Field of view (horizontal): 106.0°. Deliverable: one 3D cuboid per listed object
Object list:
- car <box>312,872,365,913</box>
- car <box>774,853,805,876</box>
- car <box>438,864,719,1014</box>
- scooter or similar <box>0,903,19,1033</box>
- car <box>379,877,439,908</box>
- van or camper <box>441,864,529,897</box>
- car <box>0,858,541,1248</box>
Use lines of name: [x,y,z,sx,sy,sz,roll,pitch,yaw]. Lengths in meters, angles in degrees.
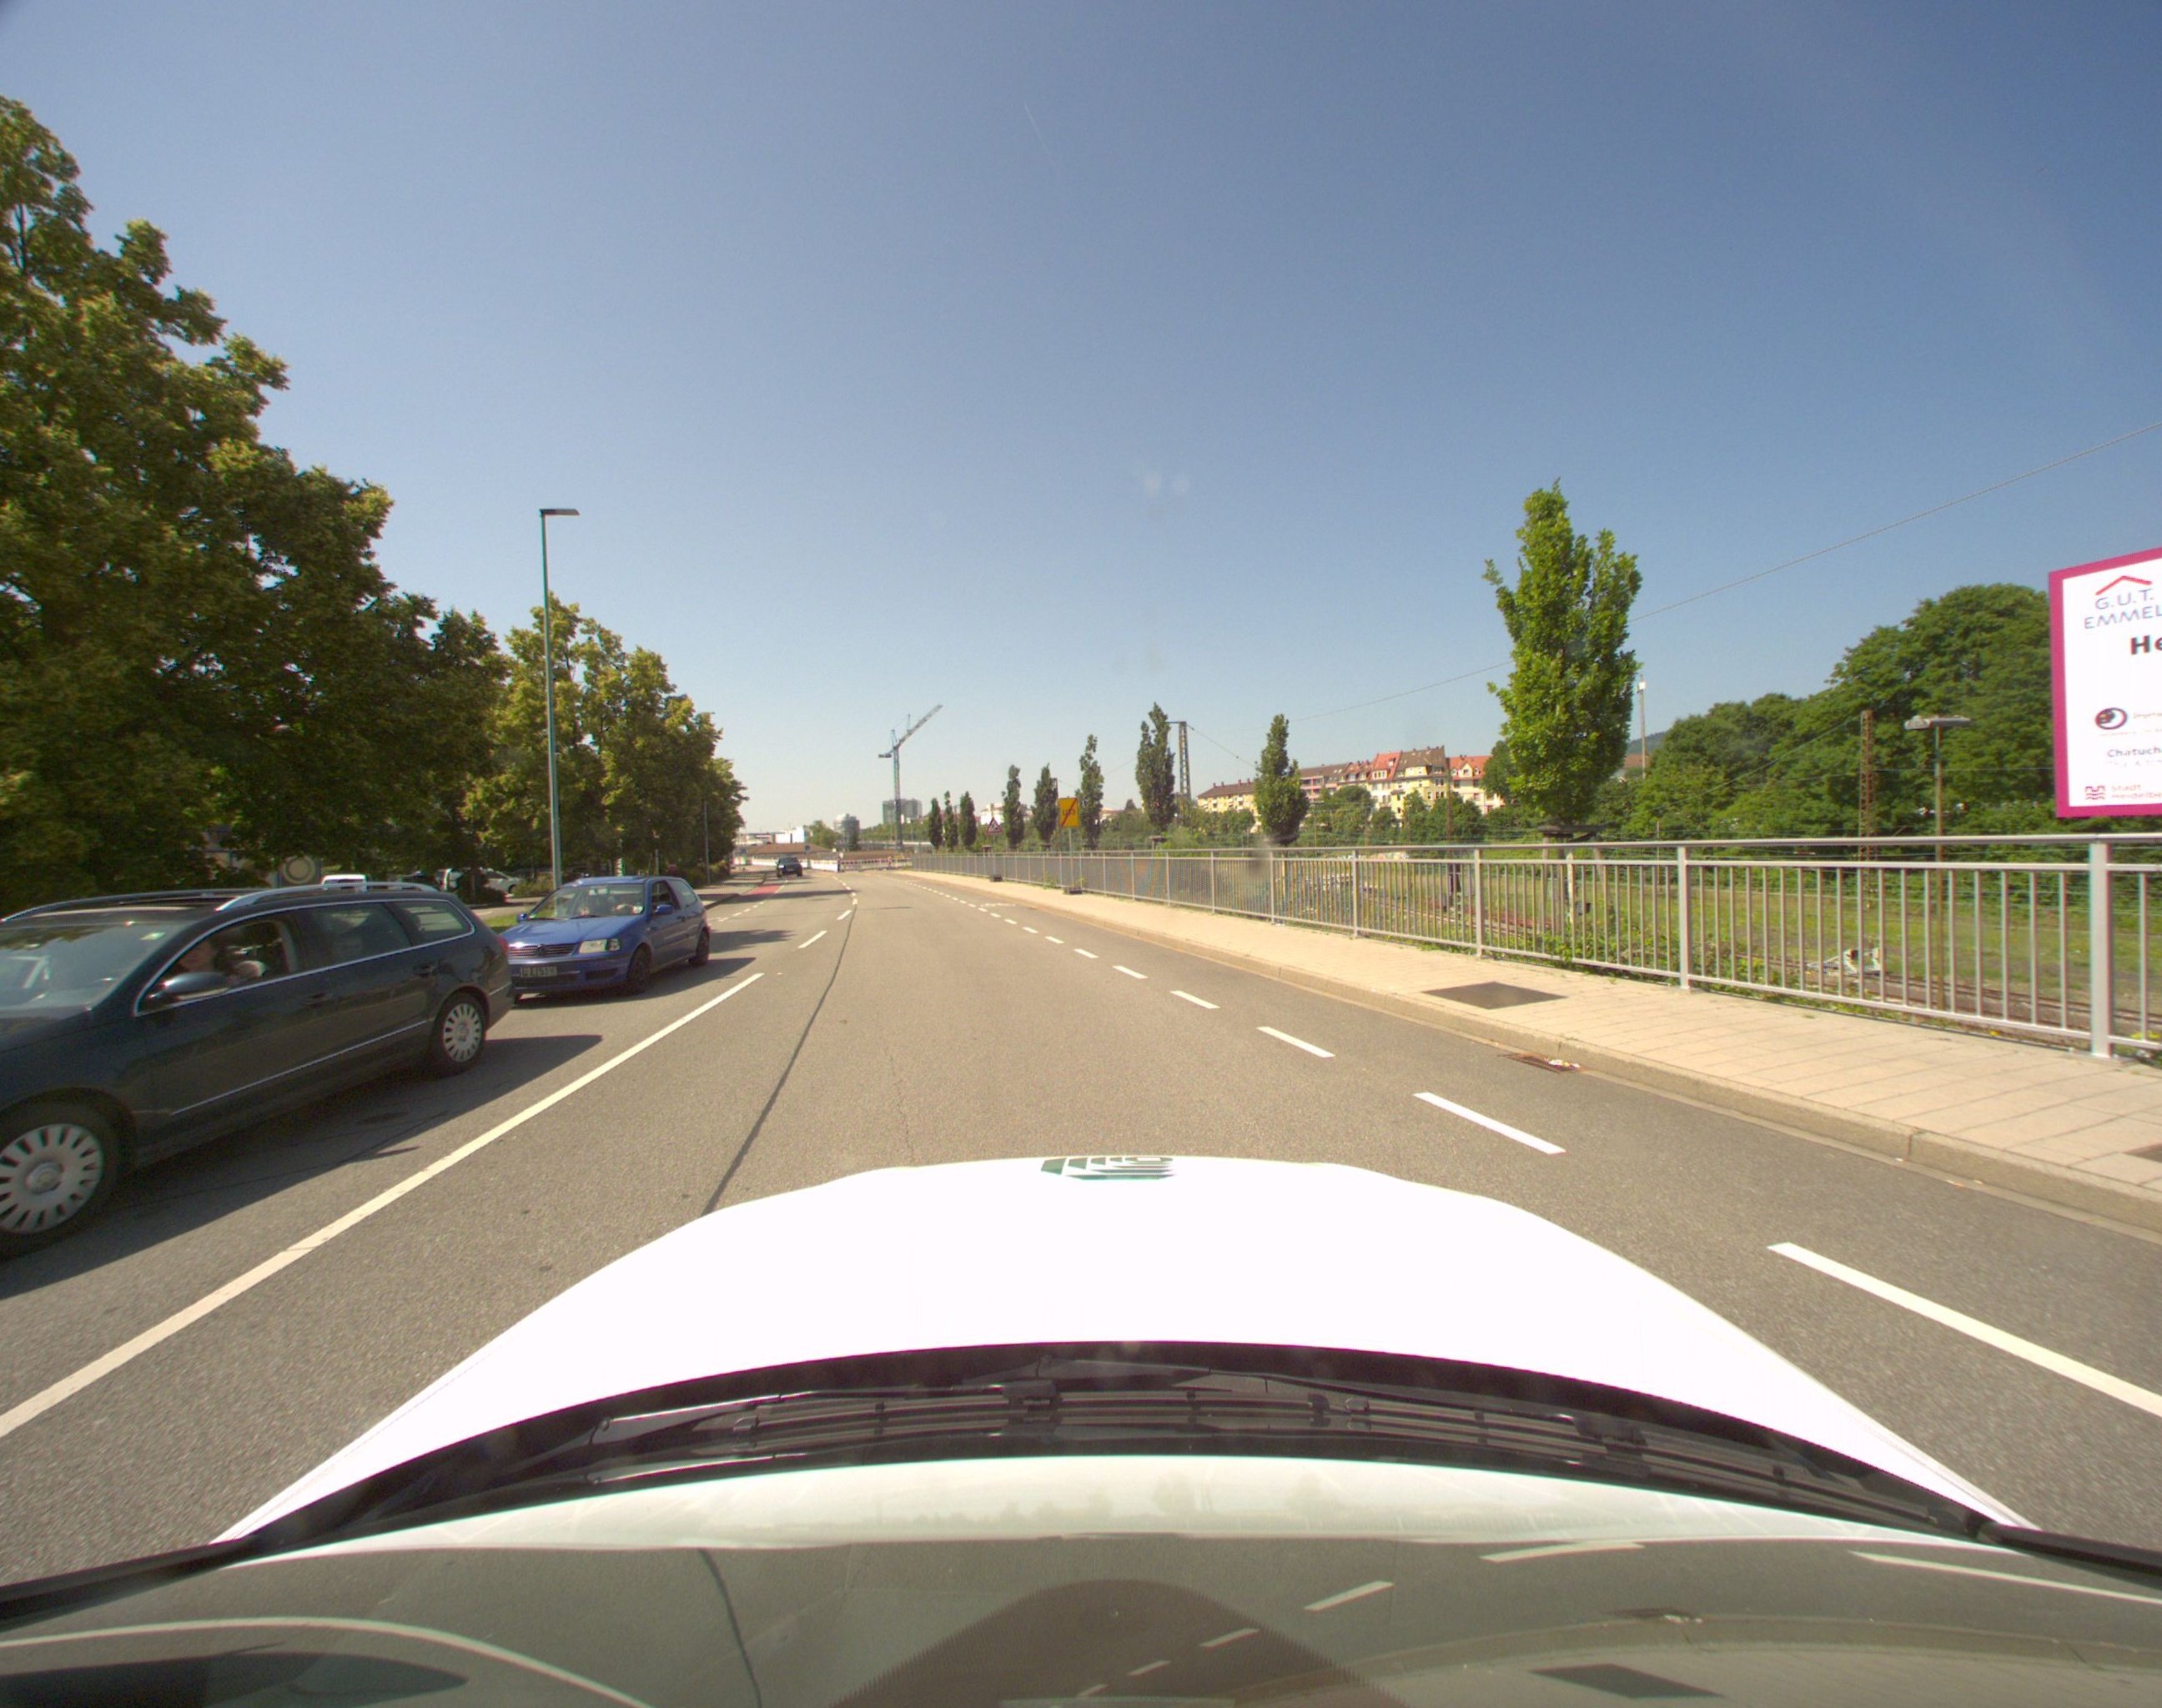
car: [-35.208,1.758,38.694,1.728,1.735,4.197,-3,1,-41]
car: [-23.907,0.837,66.701,1.959,1.695,4.576,-3,1,-24]
car: [-6.136,0.911,10.533,1.656,1.380,3.986,-3,1,-10]
scooter or similar: [-10.178,1.070,6.904,0.469,1.184,1.366,-2,1,2]
car: [-32.012,1.808,38.770,3.949,1.285,1.618,-1,1,43]
van or camper: [-37.317,1.616,51.057,4.304,1.740,1.978,-3,1,-37]
car: [-5.443,0.856,4.760,1.778,1.496,4.712,-3,1,-7]
